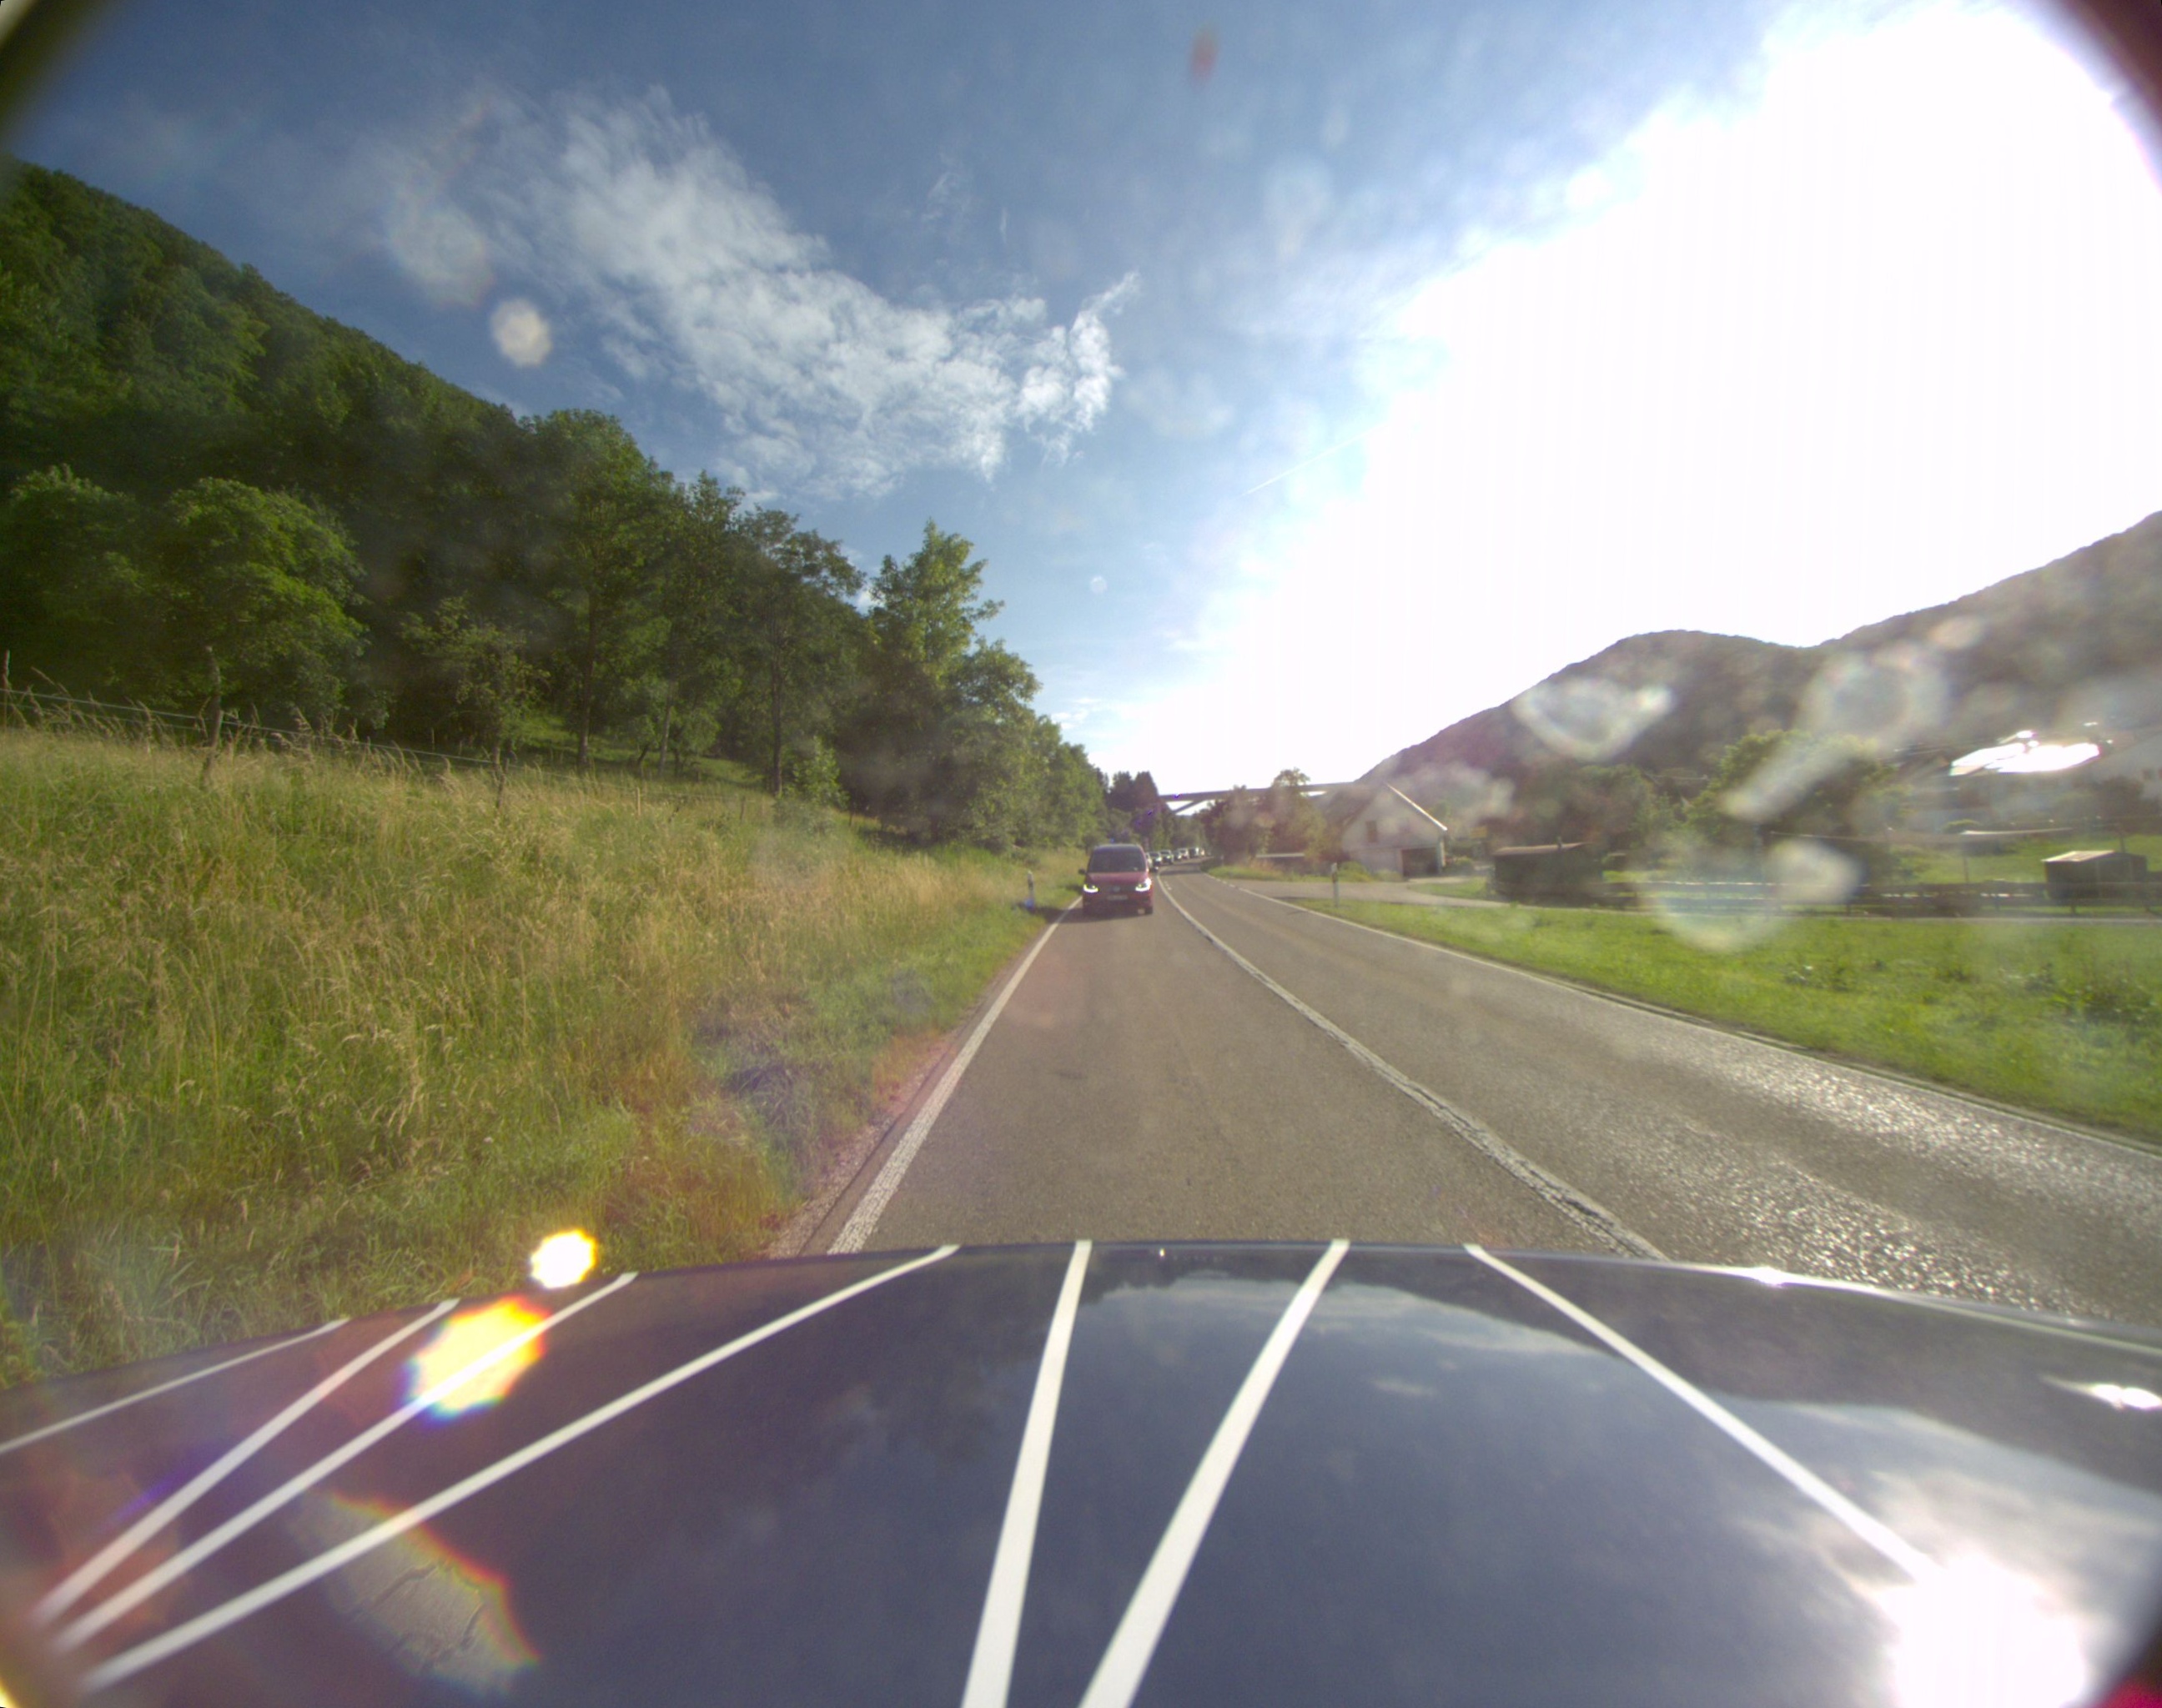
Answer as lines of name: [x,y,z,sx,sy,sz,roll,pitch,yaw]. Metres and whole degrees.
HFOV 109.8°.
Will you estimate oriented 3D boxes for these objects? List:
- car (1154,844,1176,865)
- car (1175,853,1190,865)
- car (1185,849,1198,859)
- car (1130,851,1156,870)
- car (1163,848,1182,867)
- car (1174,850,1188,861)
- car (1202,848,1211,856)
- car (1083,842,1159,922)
car: [8.412,0.015,76.025,1.913,2.002,4.003,-1,1,10]
car: [13.629,0.658,101.876,1.840,1.543,4.181,-1,1,11]
car: [19.271,-0.053,132.439,1.816,1.608,4.004,-1,1,13]
car: [5.333,0.526,64.969,1.840,1.543,4.180,-1,1,10]
car: [10.354,0.373,85.759,1.913,2.002,4.003,-1,1,11]
car: [15.316,0.179,116.153,1.817,1.608,4.003,-1,1,10]
car: [28.034,-0.467,169.227,1.840,1.543,4.180,-1,1,10]
car: [1.067,0.659,20.087,1.772,1.855,3.876,-2,0,3]
